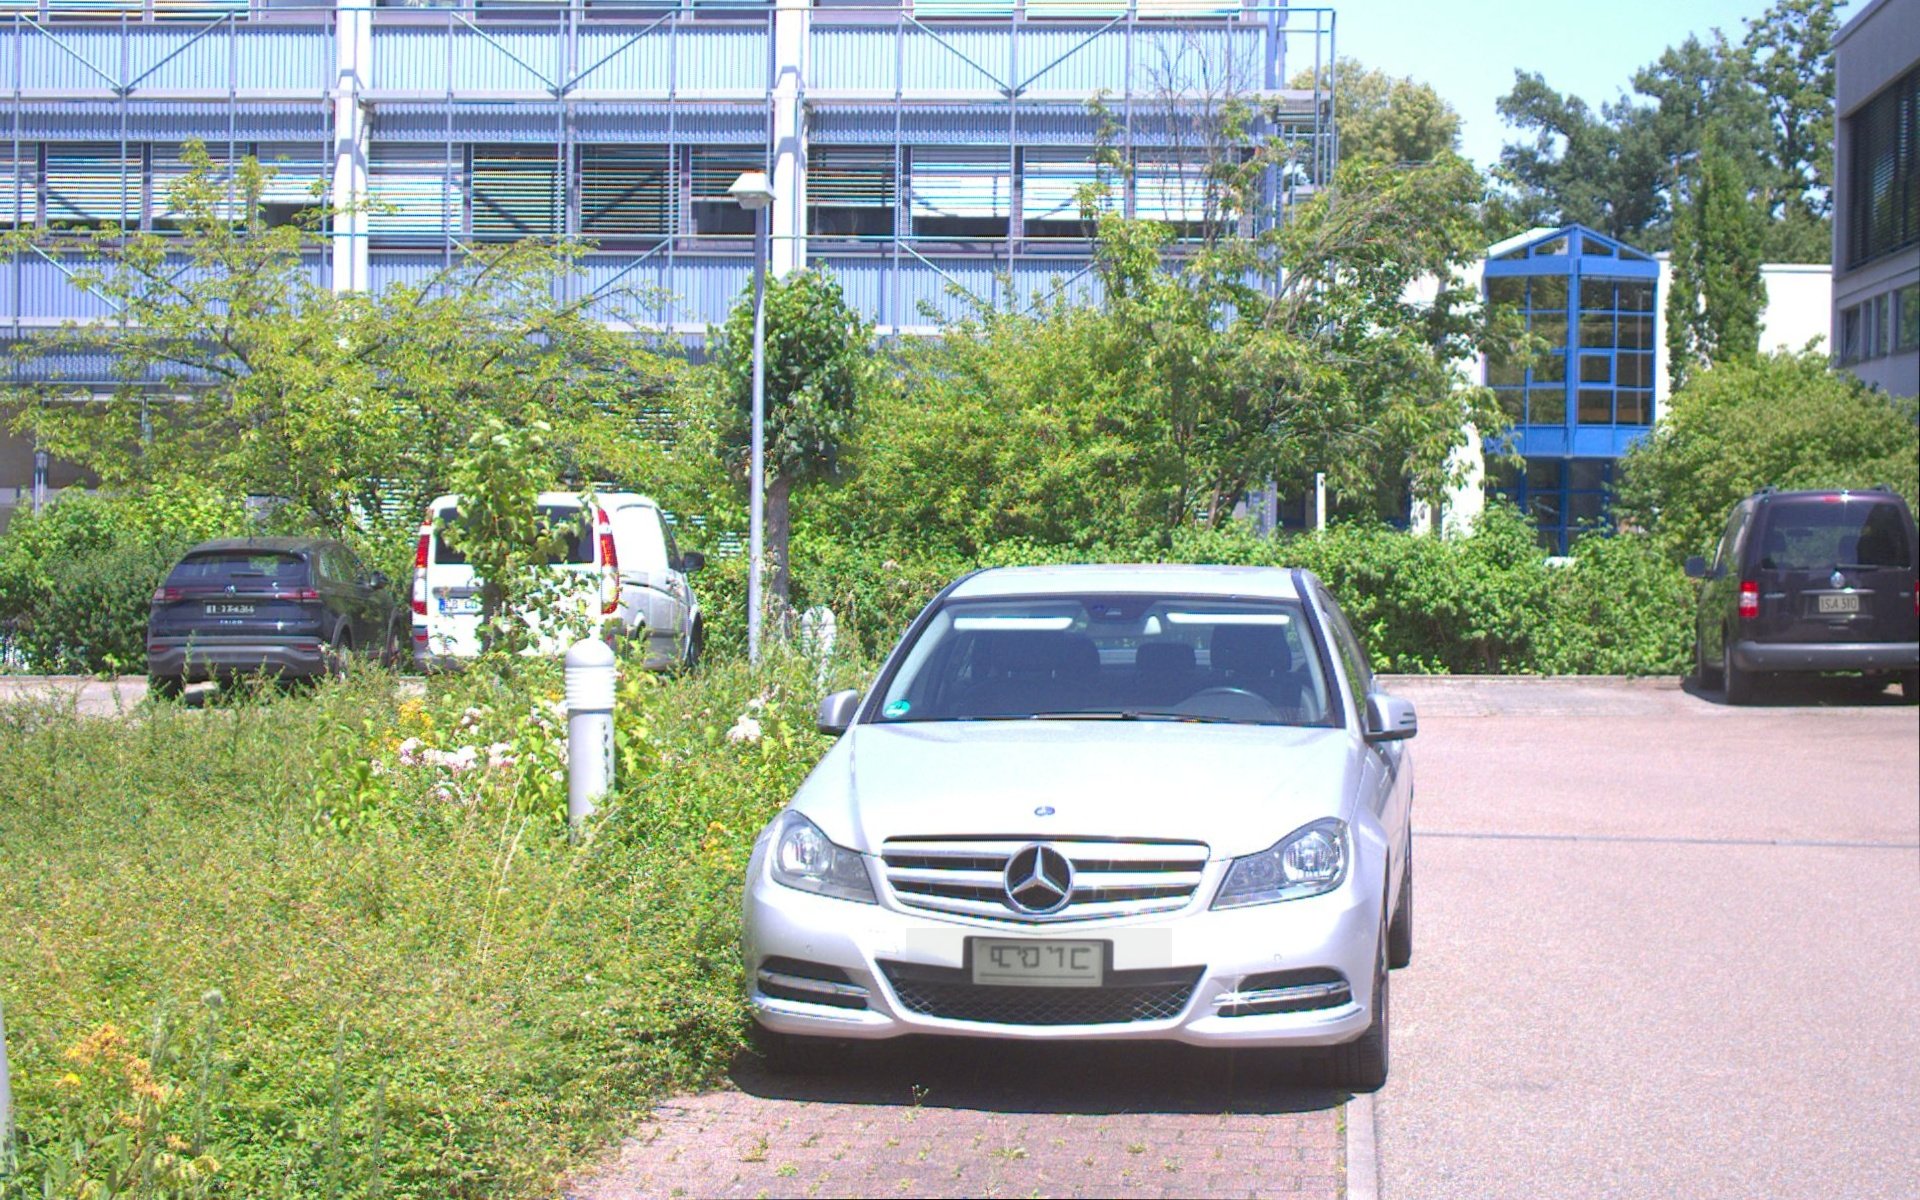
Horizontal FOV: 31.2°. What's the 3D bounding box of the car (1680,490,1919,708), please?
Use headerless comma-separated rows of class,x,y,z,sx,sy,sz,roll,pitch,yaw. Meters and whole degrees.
car,7.570,-0.060,30.862,1.743,1.830,3.999,0,2,6

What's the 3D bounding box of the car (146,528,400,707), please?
car,-6.314,0.110,31.977,1.754,1.471,4.001,-1,2,-3

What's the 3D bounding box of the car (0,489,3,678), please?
car,-10.826,-0.084,32.150,1.882,1.884,4.802,0,2,7

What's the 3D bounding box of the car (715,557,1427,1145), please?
car,0.547,0.605,10.789,1.729,1.452,4.146,0,1,9

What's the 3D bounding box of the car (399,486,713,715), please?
car,-3.573,-0.070,31.319,1.913,1.898,4.808,0,2,5
